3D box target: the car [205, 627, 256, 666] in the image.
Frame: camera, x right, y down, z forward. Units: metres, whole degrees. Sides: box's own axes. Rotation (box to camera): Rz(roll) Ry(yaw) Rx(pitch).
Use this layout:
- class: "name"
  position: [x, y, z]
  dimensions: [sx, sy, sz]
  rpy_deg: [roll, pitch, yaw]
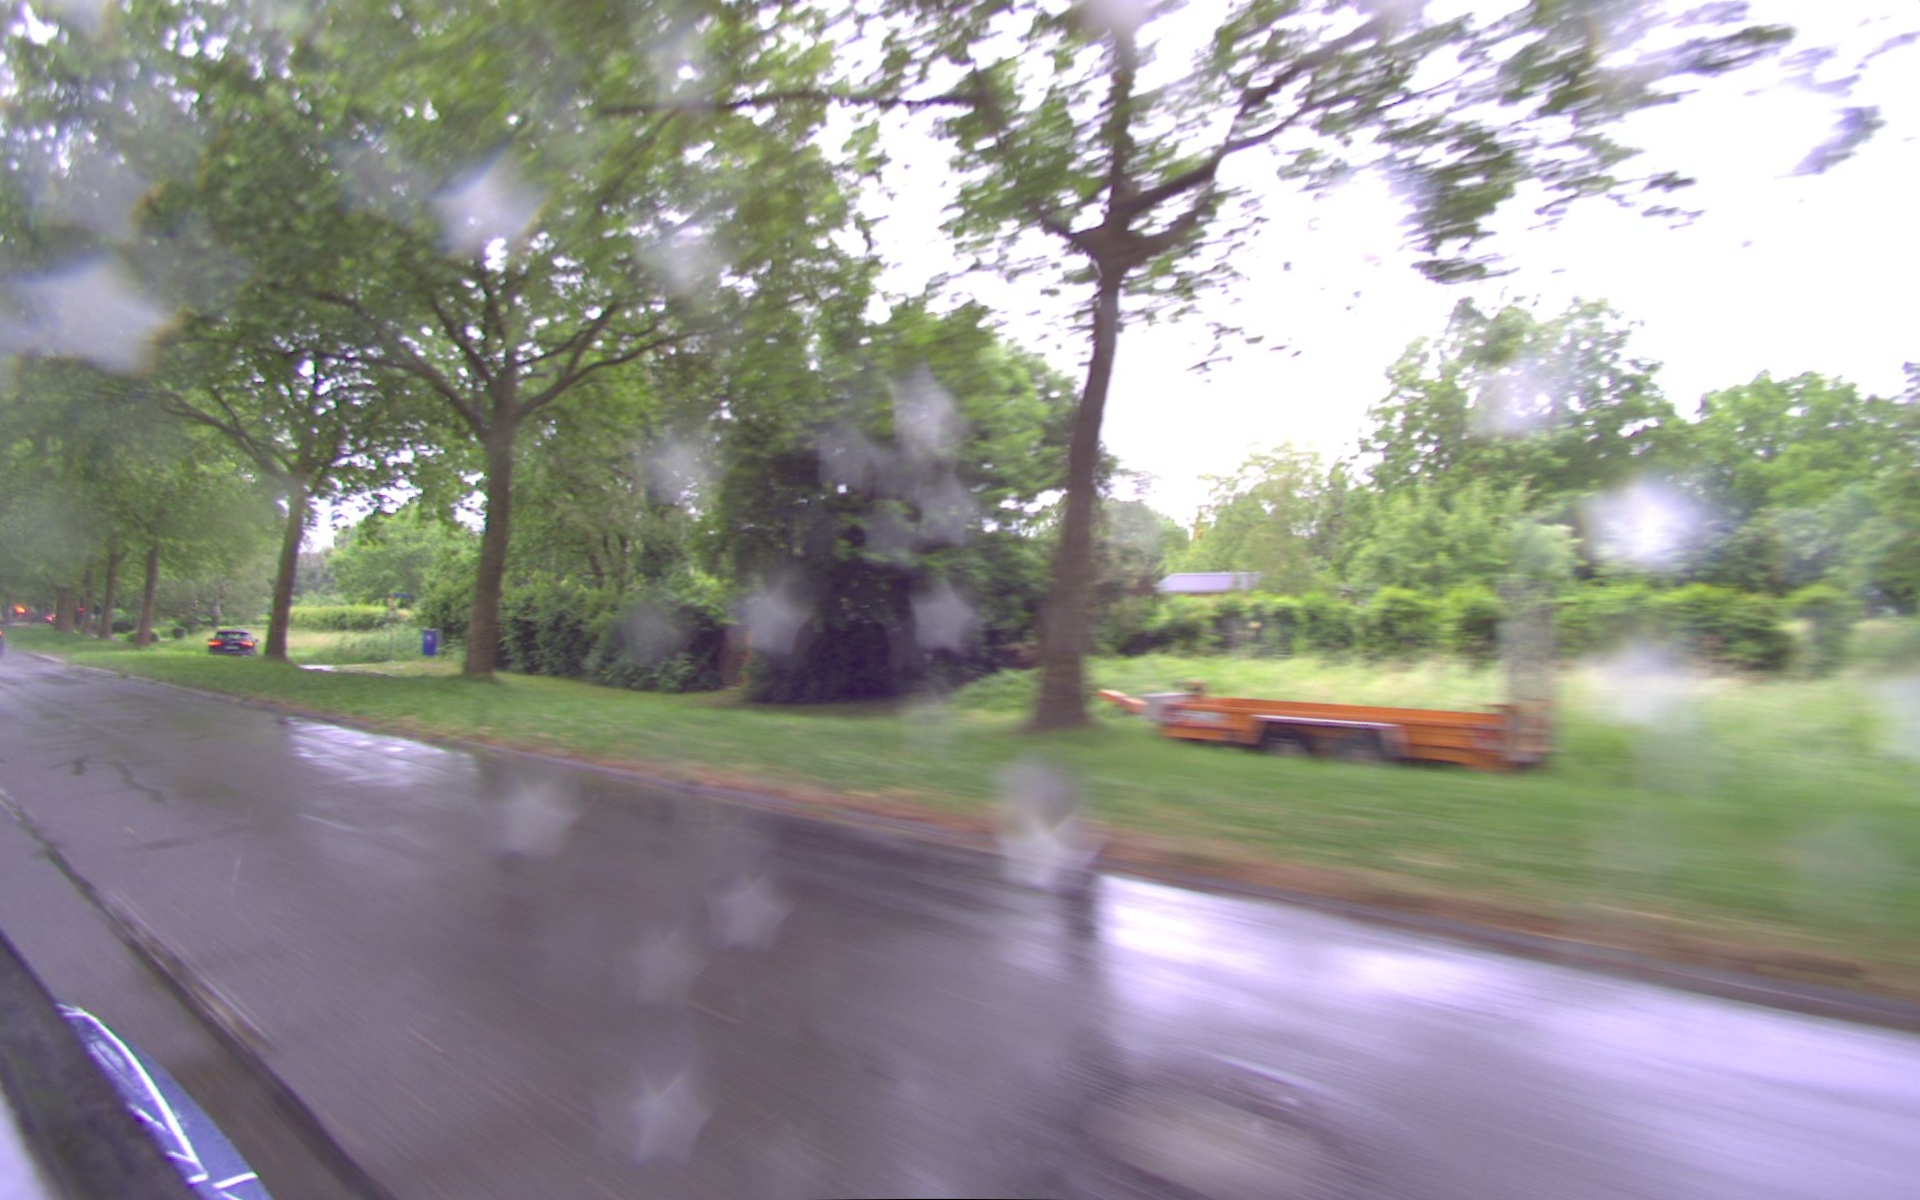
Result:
- class: "car"
  position: [-34.883, 2.187, 48.439]
  dimensions: [1.869, 1.695, 4.010]
  rpy_deg: [-1, 0, -35]

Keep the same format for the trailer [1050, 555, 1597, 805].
- class: "trailer"
  position: [4.755, 0.880, 14.145]
  dimensions: [6.651, 2.684, 2.768]
  rpy_deg: [-1, 0, 42]
